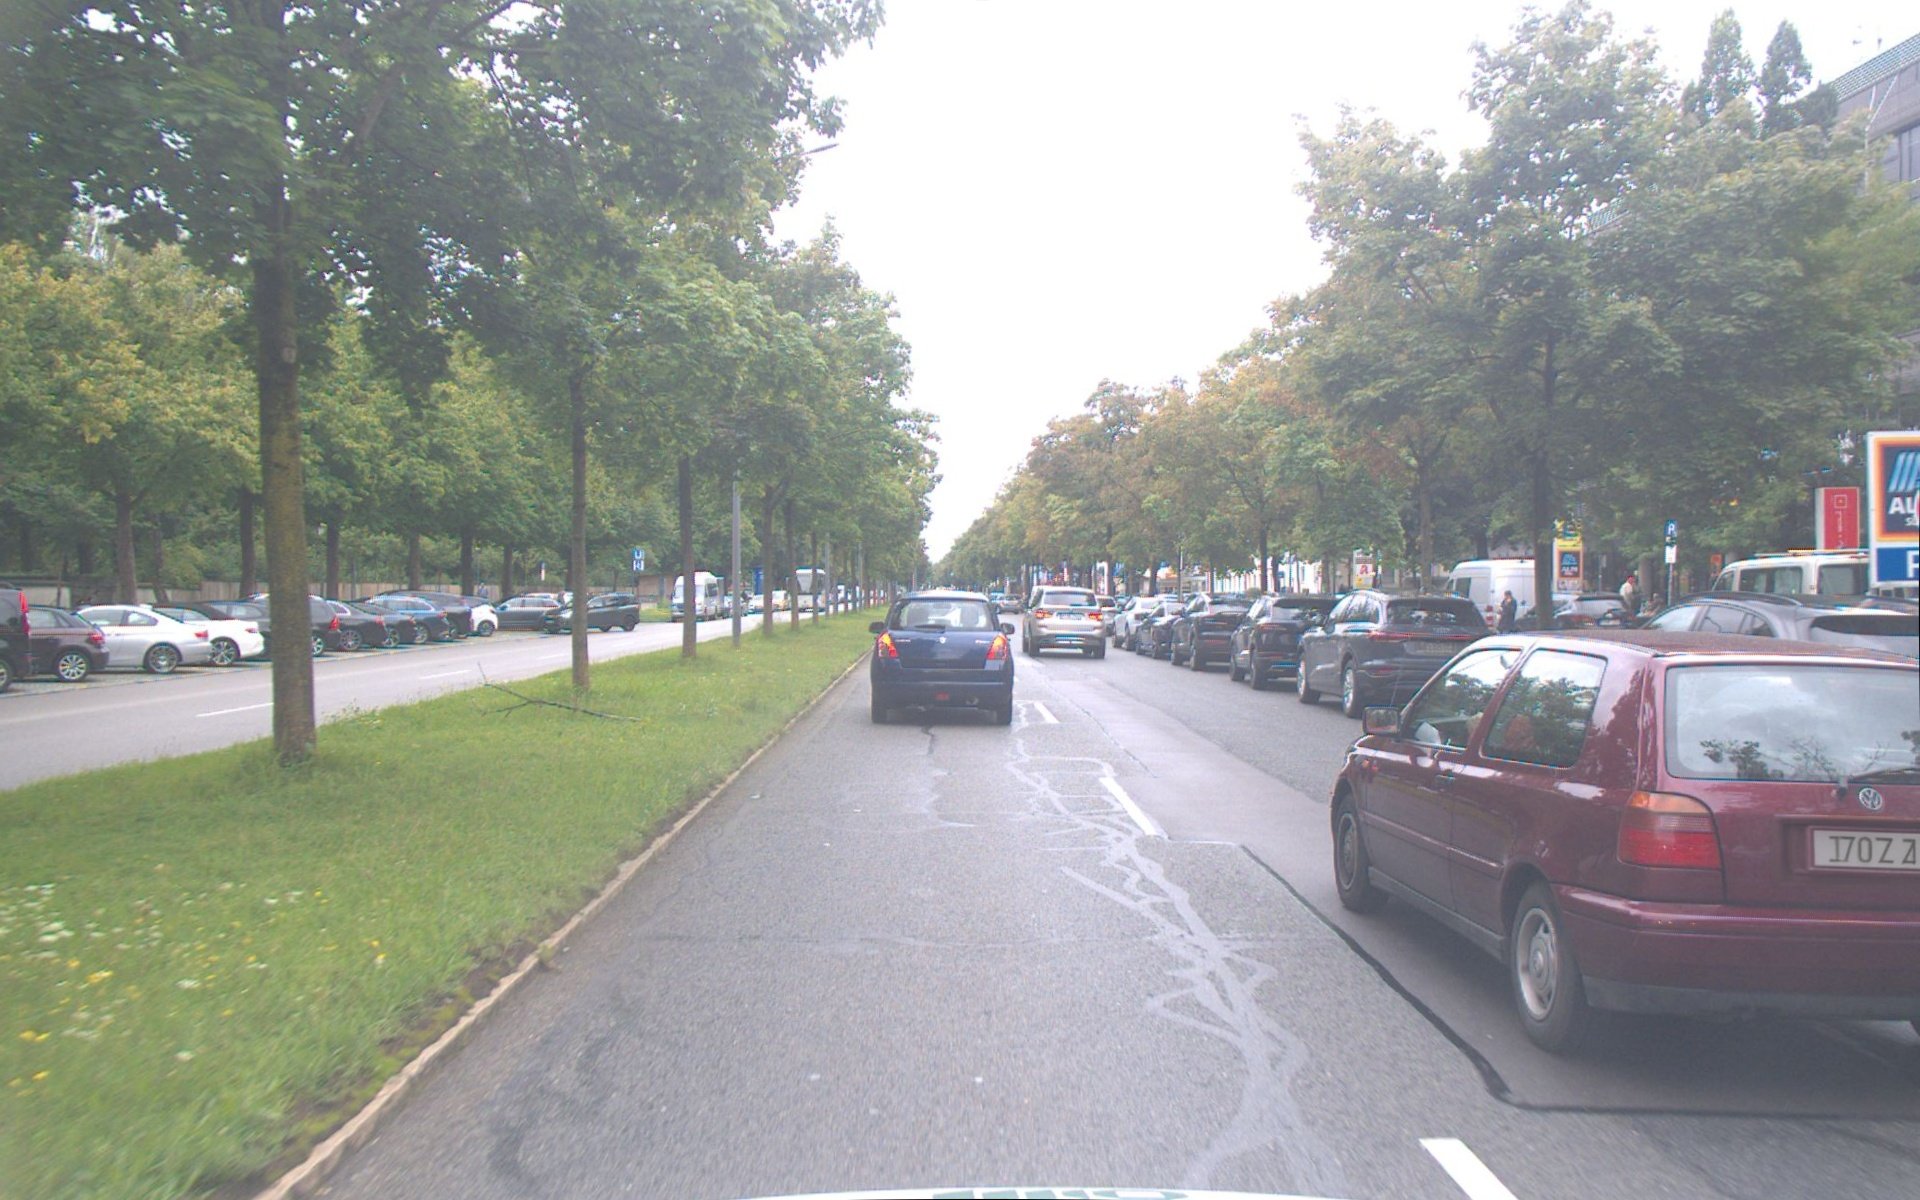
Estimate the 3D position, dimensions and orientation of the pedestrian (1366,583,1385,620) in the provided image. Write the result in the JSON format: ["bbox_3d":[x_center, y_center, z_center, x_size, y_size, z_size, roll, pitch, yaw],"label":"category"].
[{"bbox_3d":[19.750,0.087,78.650,0.732,1.736,0.702,0,0,-1],"label":"pedestrian"}]

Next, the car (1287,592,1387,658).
[{"bbox_3d":[9.637,0.605,42.555,1.650,1.613,4.009,0,0,0],"label":"car"}]

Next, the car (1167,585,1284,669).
[{"bbox_3d":[5.621,0.533,35.500,1.728,1.680,4.423,0,0,-1],"label":"car"}]

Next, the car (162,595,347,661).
[{"bbox_3d":[-18.279,0.686,42.948,4.069,1.625,1.891,-1,0,-40],"label":"car"}]

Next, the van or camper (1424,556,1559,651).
[{"bbox_3d":[15.449,0.080,48.450,1.983,2.602,5.956,0,0,-1],"label":"van or camper"}]

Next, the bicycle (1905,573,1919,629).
[{"bbox_3d":[27.824,0.018,46.519,2.574,1.534,0.793,0,0,-23],"label":"bicycle"}]

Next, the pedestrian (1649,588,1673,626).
[{"bbox_3d":[24.420,0.236,57.641,0.547,1.336,0.549,0,0,-12],"label":"pedestrian"}]

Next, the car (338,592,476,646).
[{"bbox_3d":[-18.494,0.605,55.335,4.059,1.709,1.896,-1,0,-35],"label":"car"}]

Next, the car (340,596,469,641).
[{"bbox_3d":[-19.670,0.639,58.617,4.054,1.527,1.899,0,0,-32],"label":"car"}]

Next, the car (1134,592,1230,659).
[{"bbox_3d":[5.470,0.596,41.214,1.728,1.573,4.423,0,0,-1],"label":"car"}]

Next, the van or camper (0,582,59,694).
[{"bbox_3d":[-17.606,0.637,27.751,4.090,1.887,1.822,0,0,-42],"label":"van or camper"}]

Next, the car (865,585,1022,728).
[{"bbox_3d":[-0.262,0.612,20.384,1.753,1.583,3.998,0,0,-2],"label":"car"}]

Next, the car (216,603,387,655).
[{"bbox_3d":[-18.371,0.780,46.199,4.152,1.345,1.896,-1,0,-35],"label":"car"}]

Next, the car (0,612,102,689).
[{"bbox_3d":[-17.961,0.926,30.701,3.533,1.378,1.735,0,0,-31],"label":"car"}]

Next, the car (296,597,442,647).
[{"bbox_3d":[-18.767,0.682,52.563,4.059,1.495,1.896,-1,0,-35],"label":"car"}]

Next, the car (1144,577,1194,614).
[{"bbox_3d":[9.345,-0.208,74.231,1.650,1.613,4.027,0,0,-1],"label":"car"}]

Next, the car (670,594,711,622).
[{"bbox_3d":[-15.569,0.468,95.707,1.875,1.569,4.186,0,0,-2],"label":"car"}]

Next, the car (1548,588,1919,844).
[{"bbox_3d":[6.235,0.720,12.707,1.726,1.617,4.451,0,0,-2],"label":"car"}]

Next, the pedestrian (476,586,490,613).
[{"bbox_3d":[-28.290,-0.032,98.076,0.671,1.640,0.685,0,0,-32],"label":"pedestrian"}]

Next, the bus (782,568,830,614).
[{"bbox_3d":[-12.367,-0.719,133.497,2.682,3.436,12.012,-2,0,0],"label":"bus"}]

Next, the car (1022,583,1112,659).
[{"bbox_3d":[2.577,0.480,40.676,1.813,1.773,4.096,0,0,-2],"label":"car"}]

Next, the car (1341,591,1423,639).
[{"bbox_3d":[15.268,0.506,60.012,1.650,1.661,4.496,0,0,-3],"label":"car"}]

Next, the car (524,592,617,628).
[{"bbox_3d":[-19.103,0.479,81.094,4.059,1.681,1.896,-1,0,-35],"label":"car"}]

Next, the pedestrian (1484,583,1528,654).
[{"bbox_3d":[14.793,0.484,44.822,0.857,1.883,0.903,1,0,-2],"label":"pedestrian"}]

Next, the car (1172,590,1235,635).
[{"bbox_3d":[9.341,0.450,63.662,1.650,1.661,4.779,0,0,-1],"label":"car"}]

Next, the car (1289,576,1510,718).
[{"bbox_3d":[5.861,0.564,22.683,1.725,1.730,4.819,1,0,0],"label":"car"}]

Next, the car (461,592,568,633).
[{"bbox_3d":[-19.095,0.515,70.899,4.059,1.725,1.896,-1,0,-35],"label":"car"}]

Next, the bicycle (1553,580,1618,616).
[{"bbox_3d":[27.299,-0.093,72.197,2.560,1.534,0.797,0,0,-7],"label":"bicycle"}]

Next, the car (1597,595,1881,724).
[{"bbox_3d":[10.326,0.726,22.272,1.728,1.514,3.997,2,0,-3],"label":"car"}]

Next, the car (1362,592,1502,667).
[{"bbox_3d":[9.919,0.580,35.051,1.712,1.504,4.007,0,0,-2],"label":"car"}]

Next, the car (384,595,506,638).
[{"bbox_3d":[-19.280,0.581,61.941,4.054,1.527,1.899,0,0,-32],"label":"car"}]

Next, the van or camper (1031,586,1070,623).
[{"bbox_3d":[5.026,0.234,92.179,1.905,2.009,4.306,0,0,0],"label":"van or camper"}]

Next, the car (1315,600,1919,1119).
[{"bbox_3d":[2.712,0.752,6.785,1.589,1.479,3.949,0,0,-1],"label":"car"}]

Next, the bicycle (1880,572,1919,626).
[{"bbox_3d":[27.670,-0.034,47.461,2.574,1.534,0.793,0,0,-23],"label":"bicycle"}]

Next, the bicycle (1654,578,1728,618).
[{"bbox_3d":[28.013,-0.080,63.364,2.560,1.534,0.797,0,0,-7],"label":"bicycle"}]

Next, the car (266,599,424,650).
[{"bbox_3d":[-18.425,0.719,49.612,4.148,1.434,1.896,-1,0,-35],"label":"car"}]

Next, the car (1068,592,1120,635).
[{"bbox_3d":[5.187,0.493,64.428,1.650,1.552,4.455,1,0,0],"label":"car"}]

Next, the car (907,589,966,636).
[{"bbox_3d":[-0.799,0.382,53.931,1.813,1.472,4.096,0,0,-2],"label":"car"}]

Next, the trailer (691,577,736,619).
[{"bbox_3d":[-15.658,-0.136,105.230,2.063,2.585,5.576,0,0,-1],"label":"trailer"}]

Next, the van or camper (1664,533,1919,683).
[{"bbox_3d":[15.800,0.129,31.804,1.953,2.602,5.956,0,0,-1],"label":"van or camper"}]

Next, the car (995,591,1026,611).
[{"bbox_3d":[3.761,0.082,123.194,1.814,1.472,4.093,0,0,-5],"label":"car"}]

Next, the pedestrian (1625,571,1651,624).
[{"bbox_3d":[24.030,-0.085,58.661,0.664,1.862,0.541,0,0,-13],"label":"pedestrian"}]

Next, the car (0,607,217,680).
[{"bbox_3d":[-17.747,0.864,34.369,3.955,1.378,1.828,0,0,-36],"label":"car"}]

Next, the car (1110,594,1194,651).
[{"bbox_3d":[5.409,0.608,47.041,1.672,1.479,4.510,2,0,-2],"label":"car"}]

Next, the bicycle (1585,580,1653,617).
[{"bbox_3d":[27.154,-0.062,68.180,2.560,1.534,0.797,0,0,-7],"label":"bicycle"}]

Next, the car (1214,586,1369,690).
[{"bbox_3d":[5.682,0.600,28.855,1.687,1.680,4.387,0,0,-2],"label":"car"}]

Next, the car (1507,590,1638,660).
[{"bbox_3d":[15.504,0.587,42.064,1.712,1.693,4.007,0,0,-2],"label":"car"}]

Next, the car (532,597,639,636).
[{"bbox_3d":[-15.859,0.681,70.208,1.885,1.569,4.162,0,0,42],"label":"car"}]

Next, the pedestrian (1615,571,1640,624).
[{"bbox_3d":[23.505,-0.078,58.226,0.547,1.862,0.679,0,0,-12],"label":"pedestrian"}]

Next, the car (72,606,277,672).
[{"bbox_3d":[-17.806,0.846,37.552,3.999,1.405,1.653,0,0,-37],"label":"car"}]

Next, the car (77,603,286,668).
[{"bbox_3d":[-18.674,0.816,39.763,4.205,1.447,1.890,-1,0,-42],"label":"car"}]

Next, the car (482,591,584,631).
[{"bbox_3d":[-19.213,0.487,74.432,4.059,1.725,1.896,-1,0,-35],"label":"car"}]
